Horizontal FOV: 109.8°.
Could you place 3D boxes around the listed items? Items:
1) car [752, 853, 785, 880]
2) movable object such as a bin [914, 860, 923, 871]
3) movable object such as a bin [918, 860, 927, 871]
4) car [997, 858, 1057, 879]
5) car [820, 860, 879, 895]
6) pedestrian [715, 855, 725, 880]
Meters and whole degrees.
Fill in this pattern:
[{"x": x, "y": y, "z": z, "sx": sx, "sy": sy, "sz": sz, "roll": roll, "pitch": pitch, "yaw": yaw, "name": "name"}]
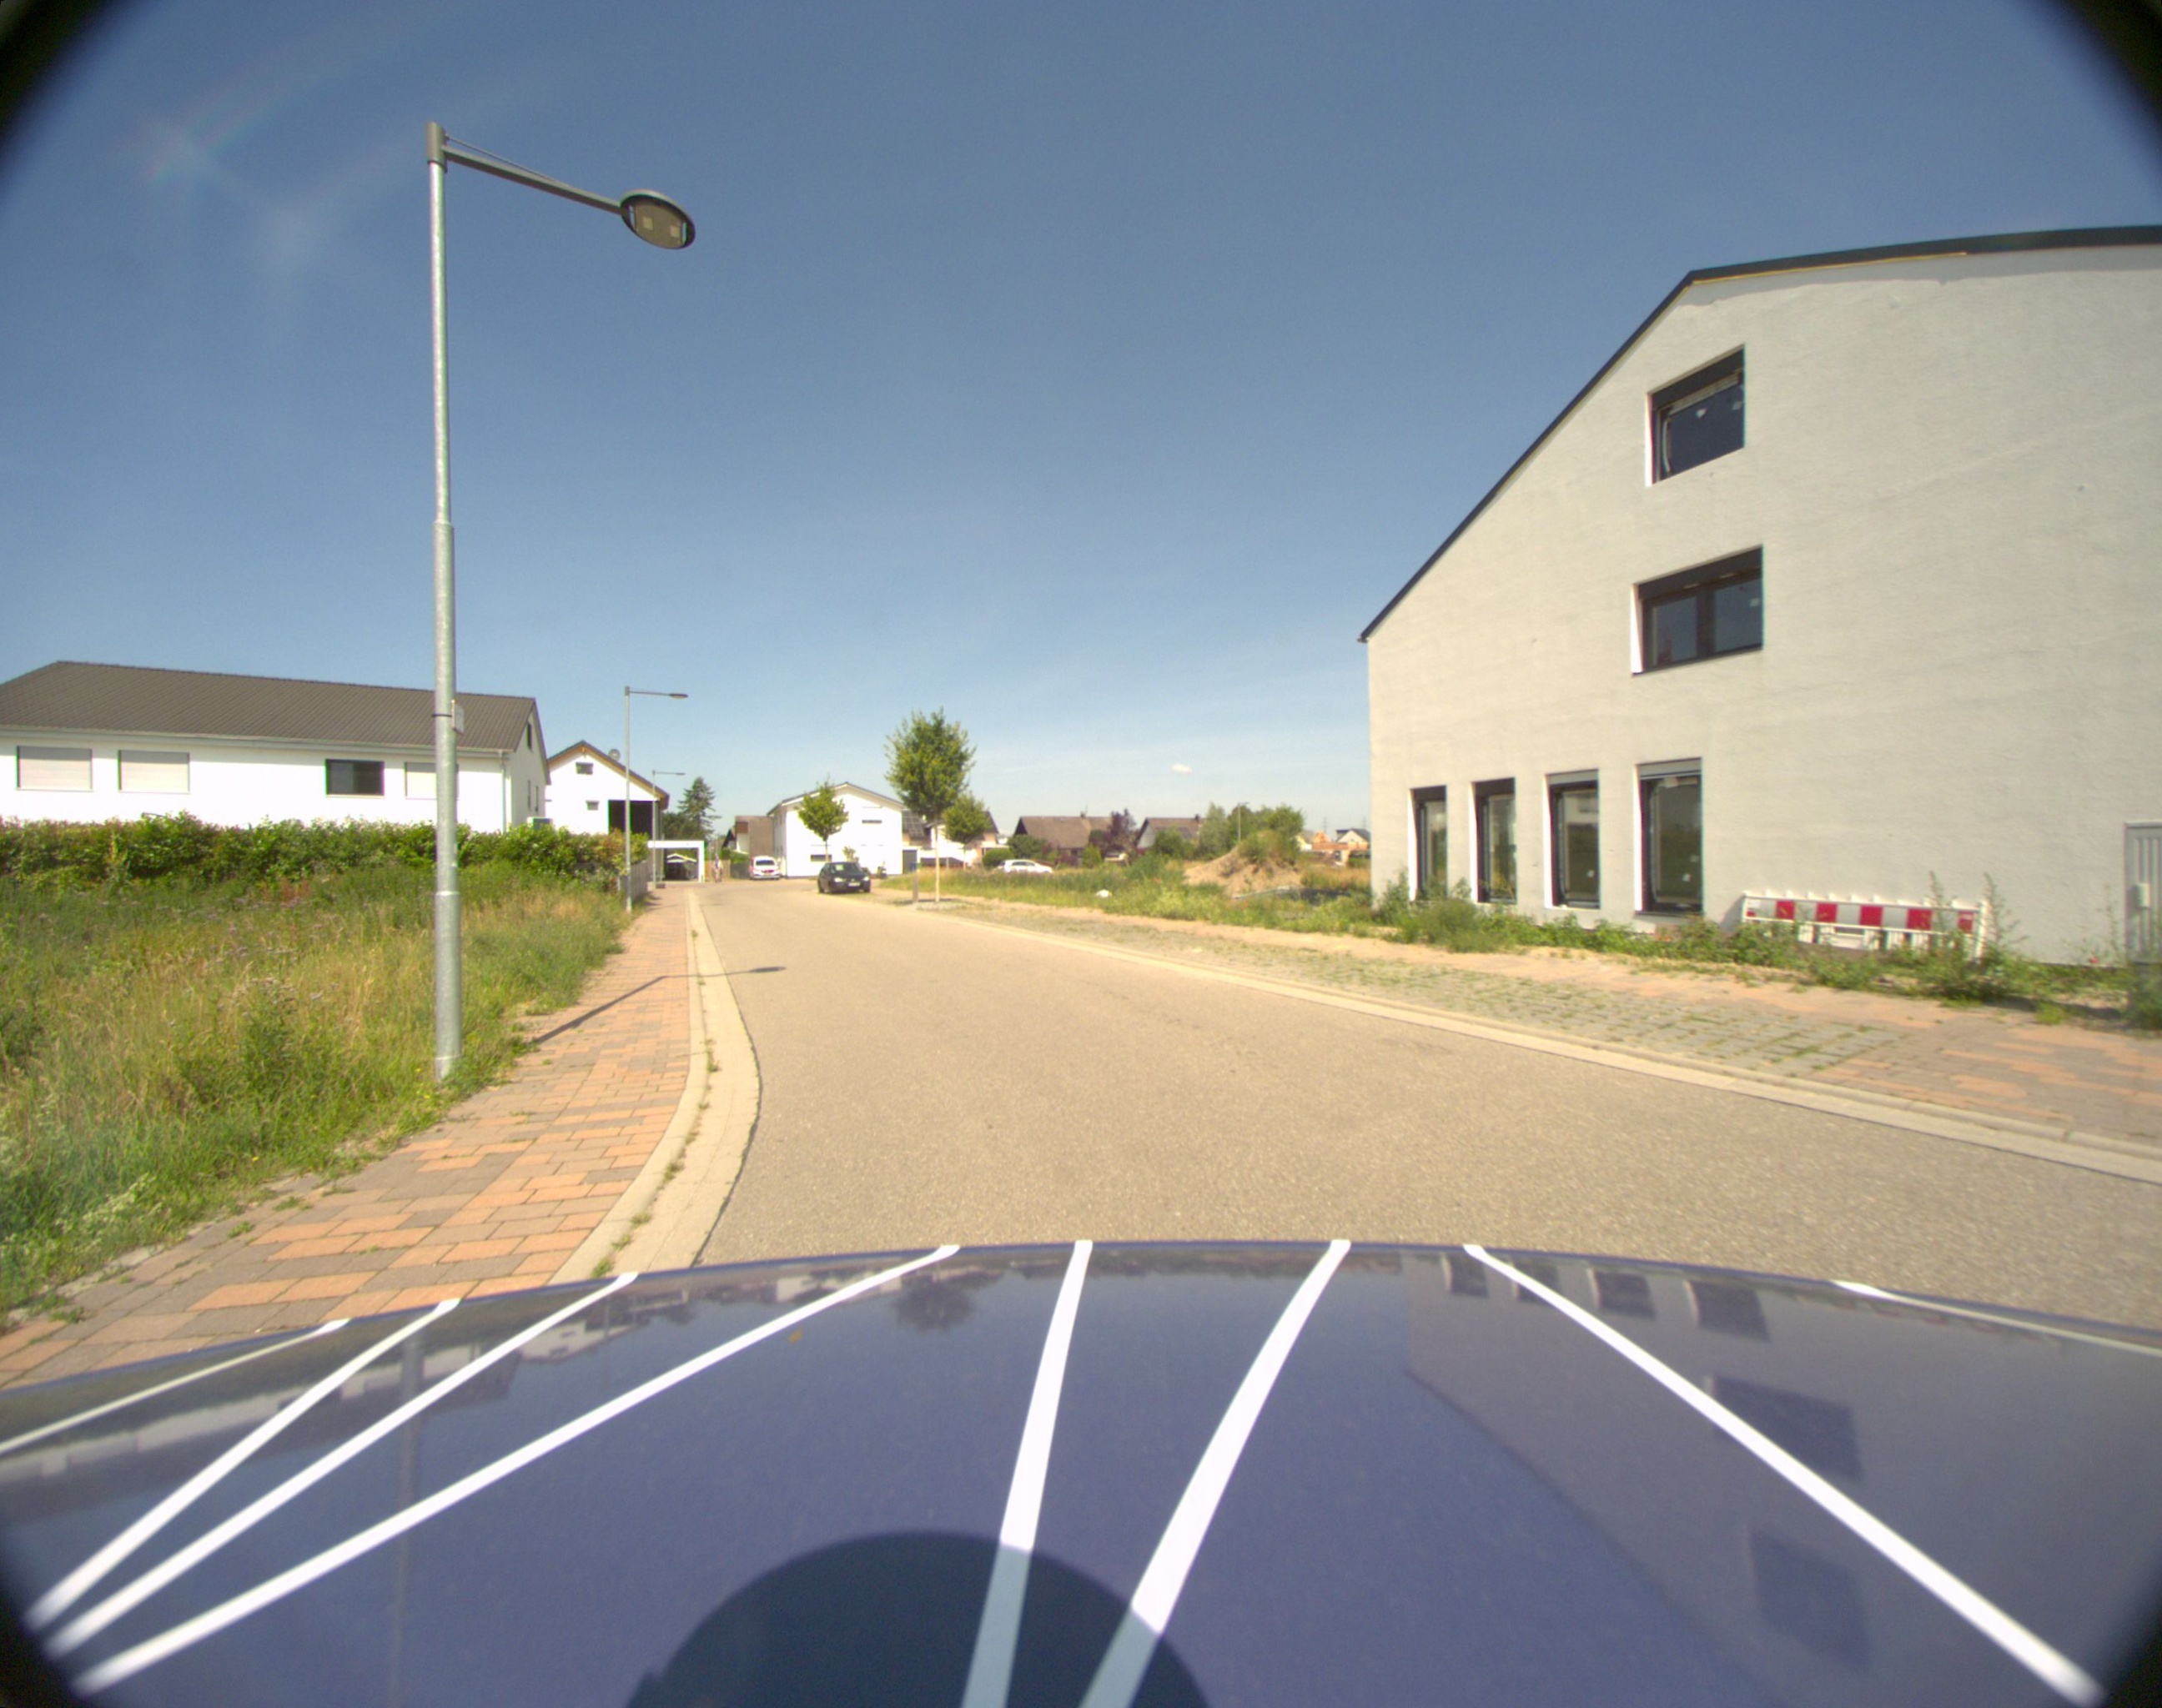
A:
[{"x": -23.843, "y": 0.916, "z": 57.903, "sx": 1.859, "sy": 1.874, "sz": 4.549, "roll": -3, "pitch": 1, "yaw": -27, "name": "car"}, {"x": -14.511, "y": 1.011, "z": 67.822, "sx": 0.687, "sy": 0.999, "sz": 0.739, "roll": -1, "pitch": 0, "yaw": -25, "name": "movable object such as a bin"}, {"x": -14.011, "y": 1.009, "z": 67.158, "sx": 0.687, "sy": 0.999, "sz": 0.739, "roll": -1, "pitch": 0, "yaw": -25, "name": "movable object such as a bin"}, {"x": -3.917, "y": 1.027, "z": 55.162, "sx": 4.004, "sy": 1.494, "sz": 1.806, "roll": -1, "pitch": 0, "yaw": -22, "name": "car"}, {"x": -10.731, "y": 1.040, "z": 35.005, "sx": 1.820, "sy": 1.445, "sz": 4.135, "roll": -3, "pitch": 1, "yaw": -27, "name": "car"}, {"x": -25.166, "y": 0.927, "z": 52.981, "sx": 0.552, "sy": 1.710, "sz": 0.818, "roll": -1, "pitch": 0, "yaw": -24, "name": "pedestrian"}]
